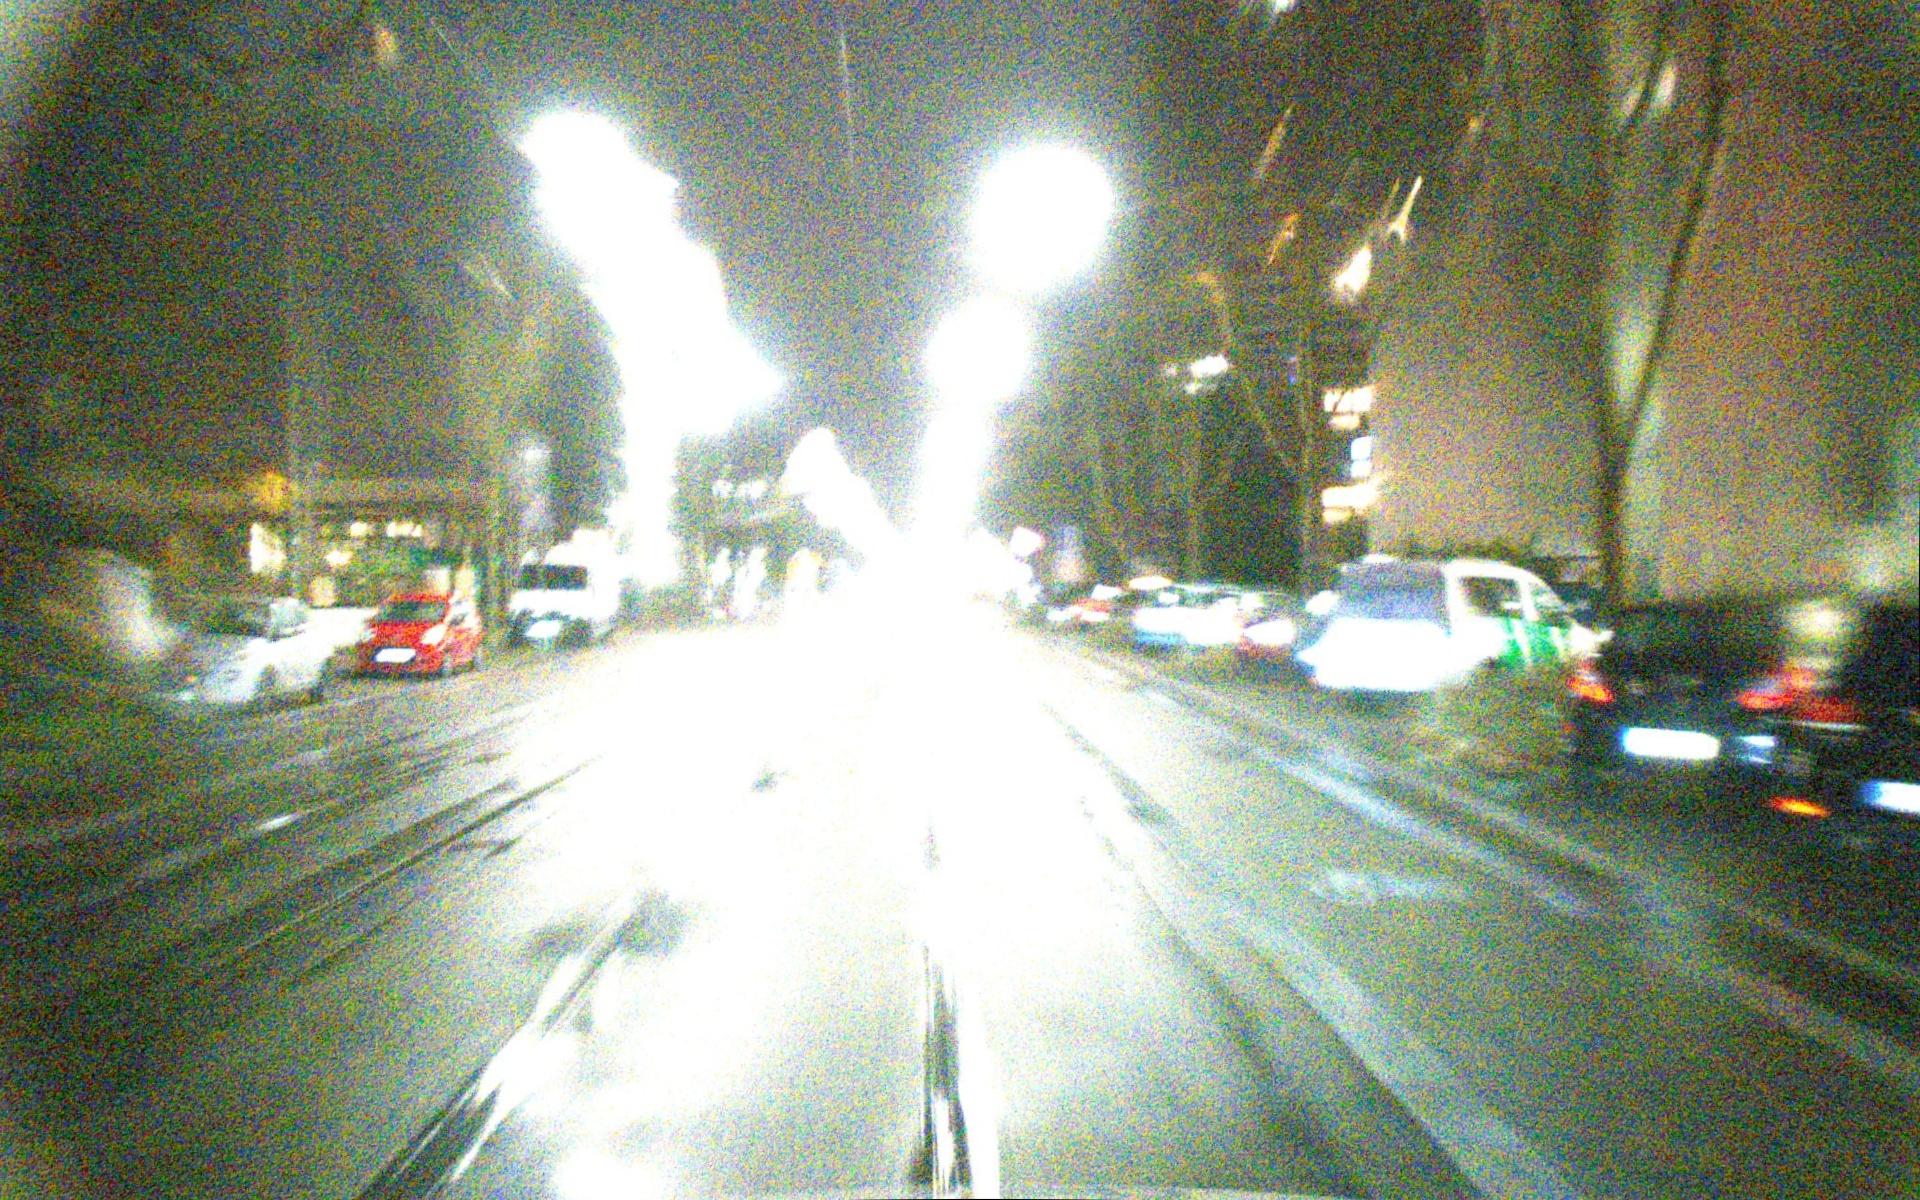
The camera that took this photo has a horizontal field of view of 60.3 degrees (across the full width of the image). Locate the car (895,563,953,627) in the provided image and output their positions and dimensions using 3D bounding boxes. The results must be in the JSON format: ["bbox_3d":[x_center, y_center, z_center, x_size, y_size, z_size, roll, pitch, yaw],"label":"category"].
[{"bbox_3d":[-1.535,-0.215,67.908,2.173,2.484,5.381,1,0,-3],"label":"car"}]

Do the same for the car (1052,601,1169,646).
[{"bbox_3d":[5.345,0.833,58.492,1.918,1.480,4.219,2,0,44],"label":"car"}]

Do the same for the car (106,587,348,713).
[{"bbox_3d":[-9.392,0.592,21.512,1.577,1.453,3.806,1,0,-3],"label":"car"}]

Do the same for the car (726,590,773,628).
[{"bbox_3d":[-10.756,0.470,84.791,1.959,1.816,3.998,2,-1,-2],"label":"car"}]

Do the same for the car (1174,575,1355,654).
[{"bbox_3d":[6.134,0.297,33.056,1.790,1.458,3.831,2,0,43],"label":"car"}]

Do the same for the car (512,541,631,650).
[{"bbox_3d":[-9.835,-0.144,42.302,1.985,2.542,5.603,2,1,-4],"label":"car"}]

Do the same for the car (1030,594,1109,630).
[{"bbox_3d":[5.177,0.583,77.996,1.873,1.599,3.946,2,0,37],"label":"car"}]

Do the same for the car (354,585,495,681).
[{"bbox_3d":[-9.775,0.556,30.415,1.608,1.533,3.617,1,2,-4],"label":"car"}]

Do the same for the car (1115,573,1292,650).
[{"bbox_3d":[5.300,0.240,35.779,3.858,1.560,1.793,1,1,-43],"label":"car"}]

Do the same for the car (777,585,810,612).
[{"bbox_3d":[-11.662,-0.077,115.893,1.982,1.791,3.998,2,-1,-2],"label":"car"}]

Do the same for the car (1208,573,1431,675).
[{"bbox_3d":[5.829,0.314,26.465,1.661,1.428,4.435,1,2,39],"label":"car"}]

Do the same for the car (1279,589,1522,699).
[{"bbox_3d":[6.197,0.587,23.183,3.301,1.409,1.610,1,0,-37],"label":"car"}]

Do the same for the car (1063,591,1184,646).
[{"bbox_3d":[5.240,0.597,52.645,2.018,1.652,3.808,2,0,40],"label":"car"}]

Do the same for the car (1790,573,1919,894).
[{"bbox_3d":[6.014,0.625,9.072,1.774,1.514,3.835,0,0,40],"label":"car"}]

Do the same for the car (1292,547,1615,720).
[{"bbox_3d":[6.090,0.387,20.183,4.140,1.871,1.932,2,1,-43],"label":"car"}]

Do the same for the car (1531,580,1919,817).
[{"bbox_3d":[5.858,0.649,12.347,1.573,1.463,3.809,2,0,43],"label":"car"}]

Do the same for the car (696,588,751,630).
[{"bbox_3d":[-10.870,0.425,76.248,2.067,1.795,4.961,2,-1,-4],"label":"car"}]
